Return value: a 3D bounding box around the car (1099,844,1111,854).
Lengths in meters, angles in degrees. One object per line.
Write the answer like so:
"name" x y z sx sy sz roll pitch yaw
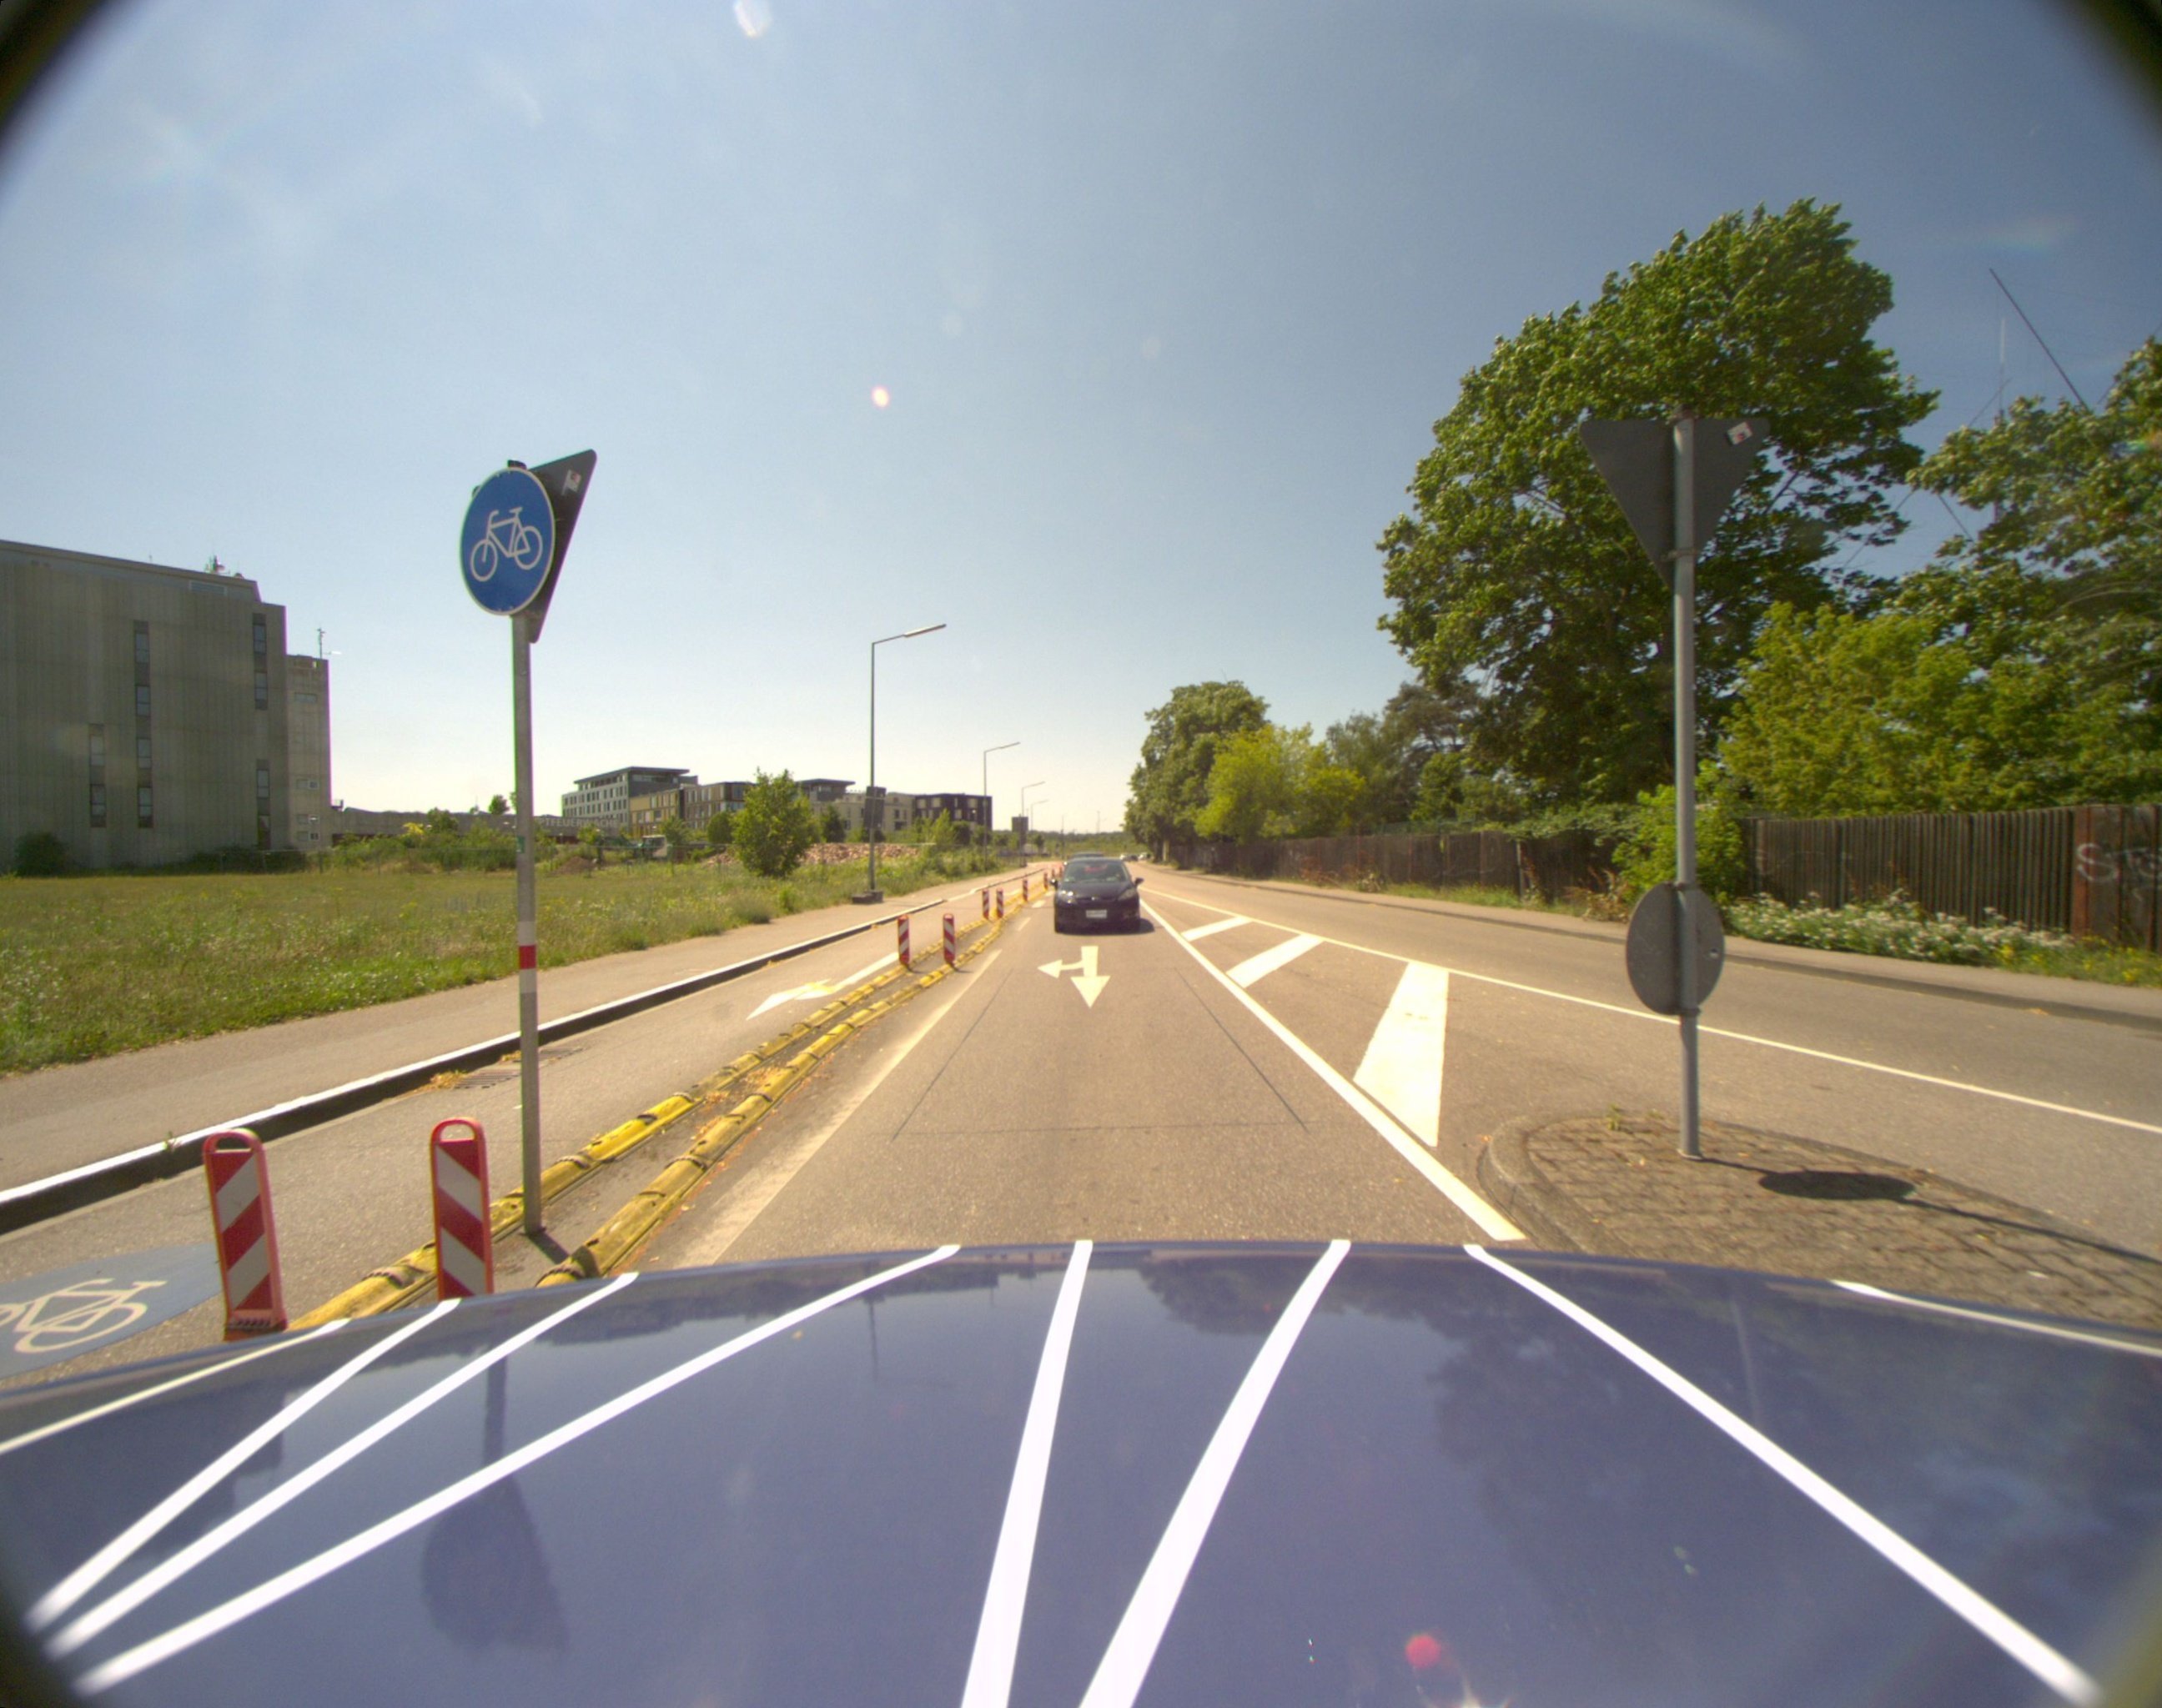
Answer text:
"car" 3.710 -0.744 117.727 1.759 1.536 3.693 0 0 -1

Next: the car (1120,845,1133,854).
"car" 7.763 -0.735 128.869 1.719 1.455 3.841 1 0 -4

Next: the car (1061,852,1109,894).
"car" 0.217 0.692 29.602 1.720 1.518 4.212 0 0 2

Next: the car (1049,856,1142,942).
"car" 0.311 0.800 15.421 1.632 1.499 3.819 0 0 2

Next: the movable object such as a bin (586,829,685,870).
"movable object such as a bin" -36.790 -0.449 63.181 2.810 3.131 7.609 -2 1 9

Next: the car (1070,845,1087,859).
"car" -0.325 -0.214 82.190 1.759 1.536 3.693 0 0 -1
